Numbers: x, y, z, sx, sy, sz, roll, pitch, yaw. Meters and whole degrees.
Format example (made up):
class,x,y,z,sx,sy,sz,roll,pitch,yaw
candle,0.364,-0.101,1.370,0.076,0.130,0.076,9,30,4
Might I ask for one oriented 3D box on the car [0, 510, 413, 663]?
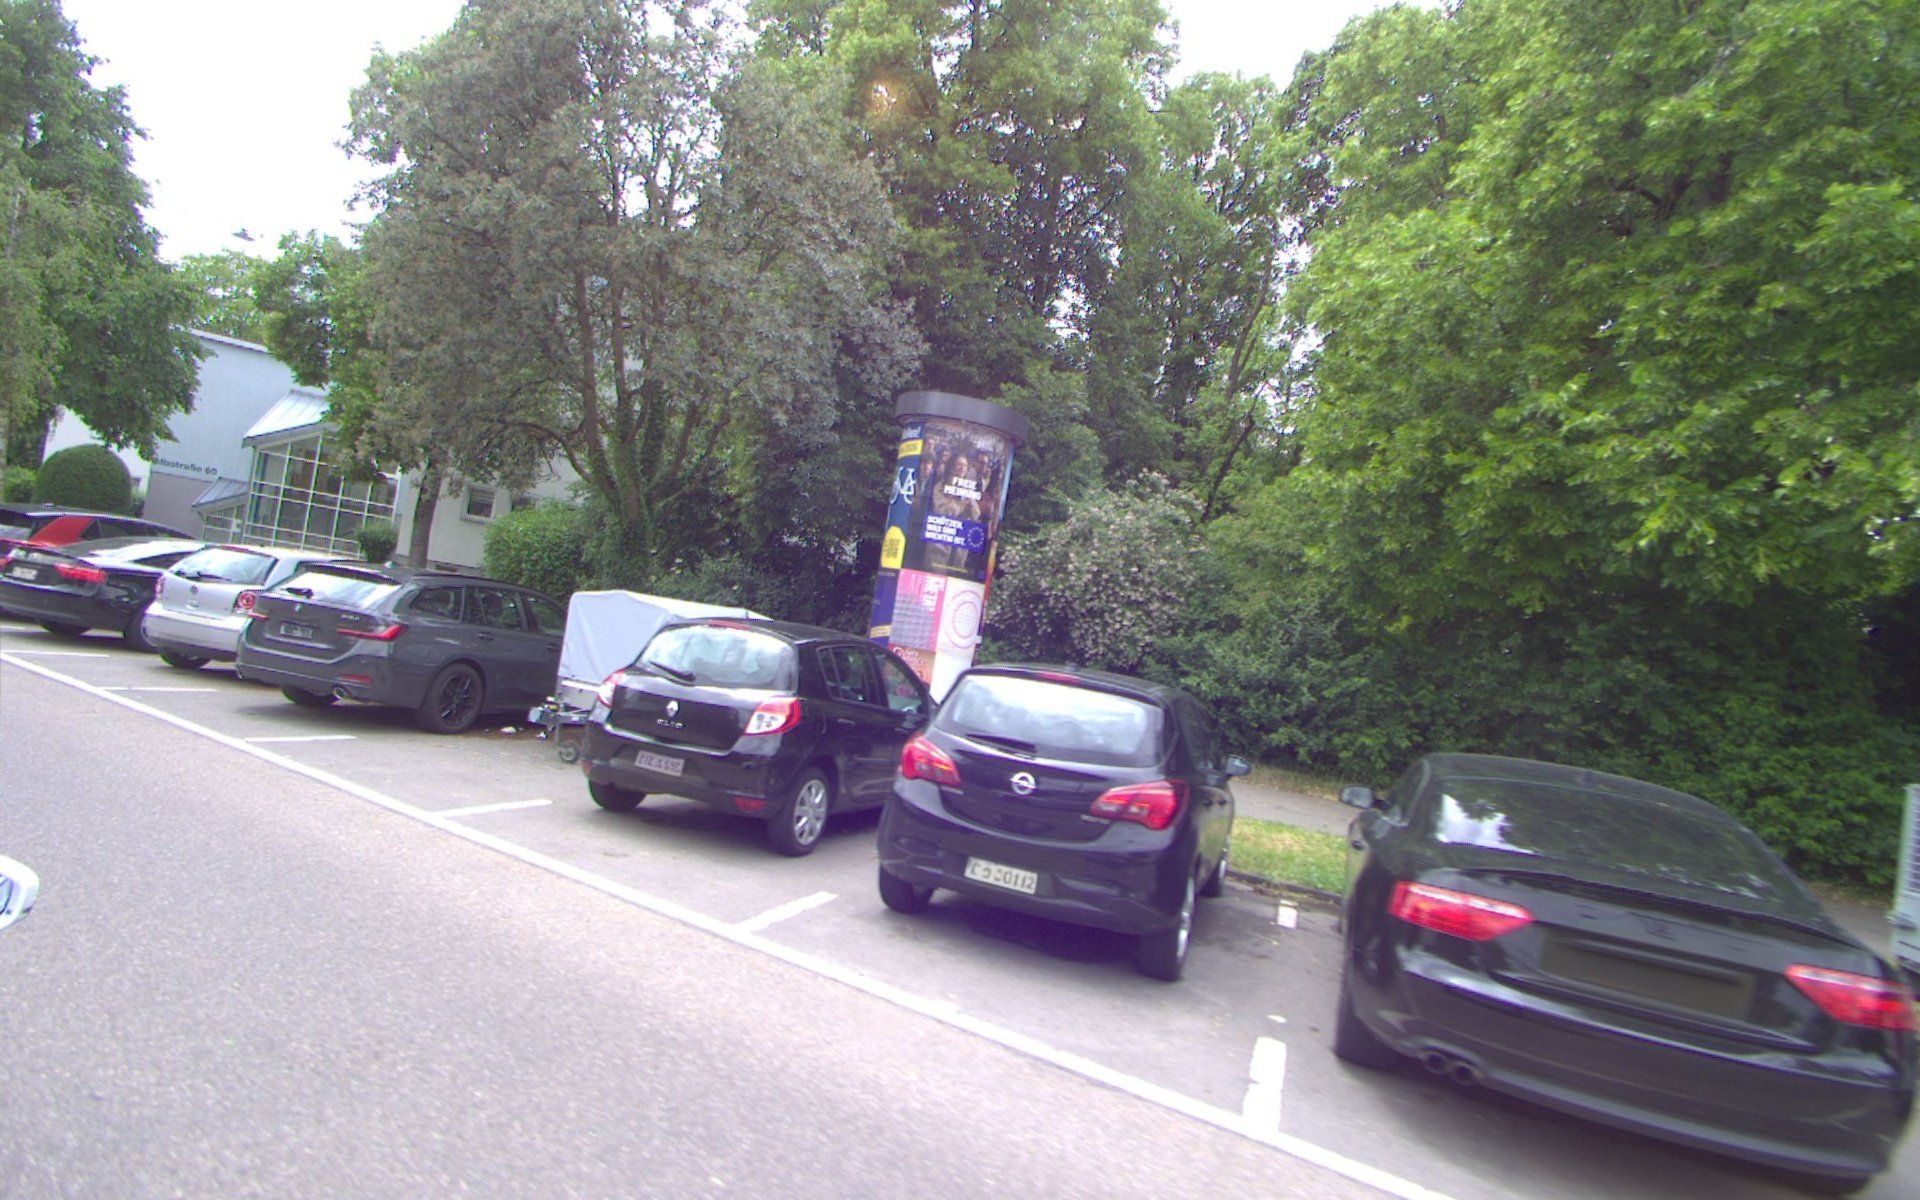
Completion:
class,x,y,z,sx,sy,sz,roll,pitch,yaw
car,-9.640,-0.059,13.102,1.701,1.355,4.334,7,-3,18

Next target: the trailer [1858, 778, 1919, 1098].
class,x,y,z,sx,sy,sz,roll,pitch,yaw
trailer,5.181,1.658,3.536,1.615,1.551,3.706,8,-3,20

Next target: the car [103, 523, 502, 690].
class,x,y,z,sx,sy,sz,roll,pitch,yaw
car,-7.455,0.199,11.867,1.603,1.461,3.628,8,-3,16

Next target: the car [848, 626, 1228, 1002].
class,x,y,z,sx,sy,sz,roll,pitch,yaw
car,0.836,1.164,6.700,1.587,1.502,3.931,8,-3,17

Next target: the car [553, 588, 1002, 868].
class,x,y,z,sx,sy,sz,roll,pitch,yaw
car,-1.115,0.947,8.018,1.604,1.471,3.858,8,-3,21

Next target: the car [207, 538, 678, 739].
class,x,y,z,sx,sy,sz,roll,pitch,yaw
car,-4.947,0.504,10.457,1.603,1.461,4.366,8,-3,18

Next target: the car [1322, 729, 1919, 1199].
class,x,y,z,sx,sy,sz,roll,pitch,yaw
car,2.737,1.482,5.127,1.530,1.342,4.056,7,-3,20

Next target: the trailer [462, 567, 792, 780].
class,x,y,z,sx,sy,sz,roll,pitch,yaw
trailer,-3.013,0.730,9.700,1.279,1.559,3.000,8,-3,19

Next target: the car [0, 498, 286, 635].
class,x,y,z,sx,sy,sz,roll,pitch,yaw
car,-12.169,-0.445,14.389,1.700,1.532,4.091,8,-2,10
